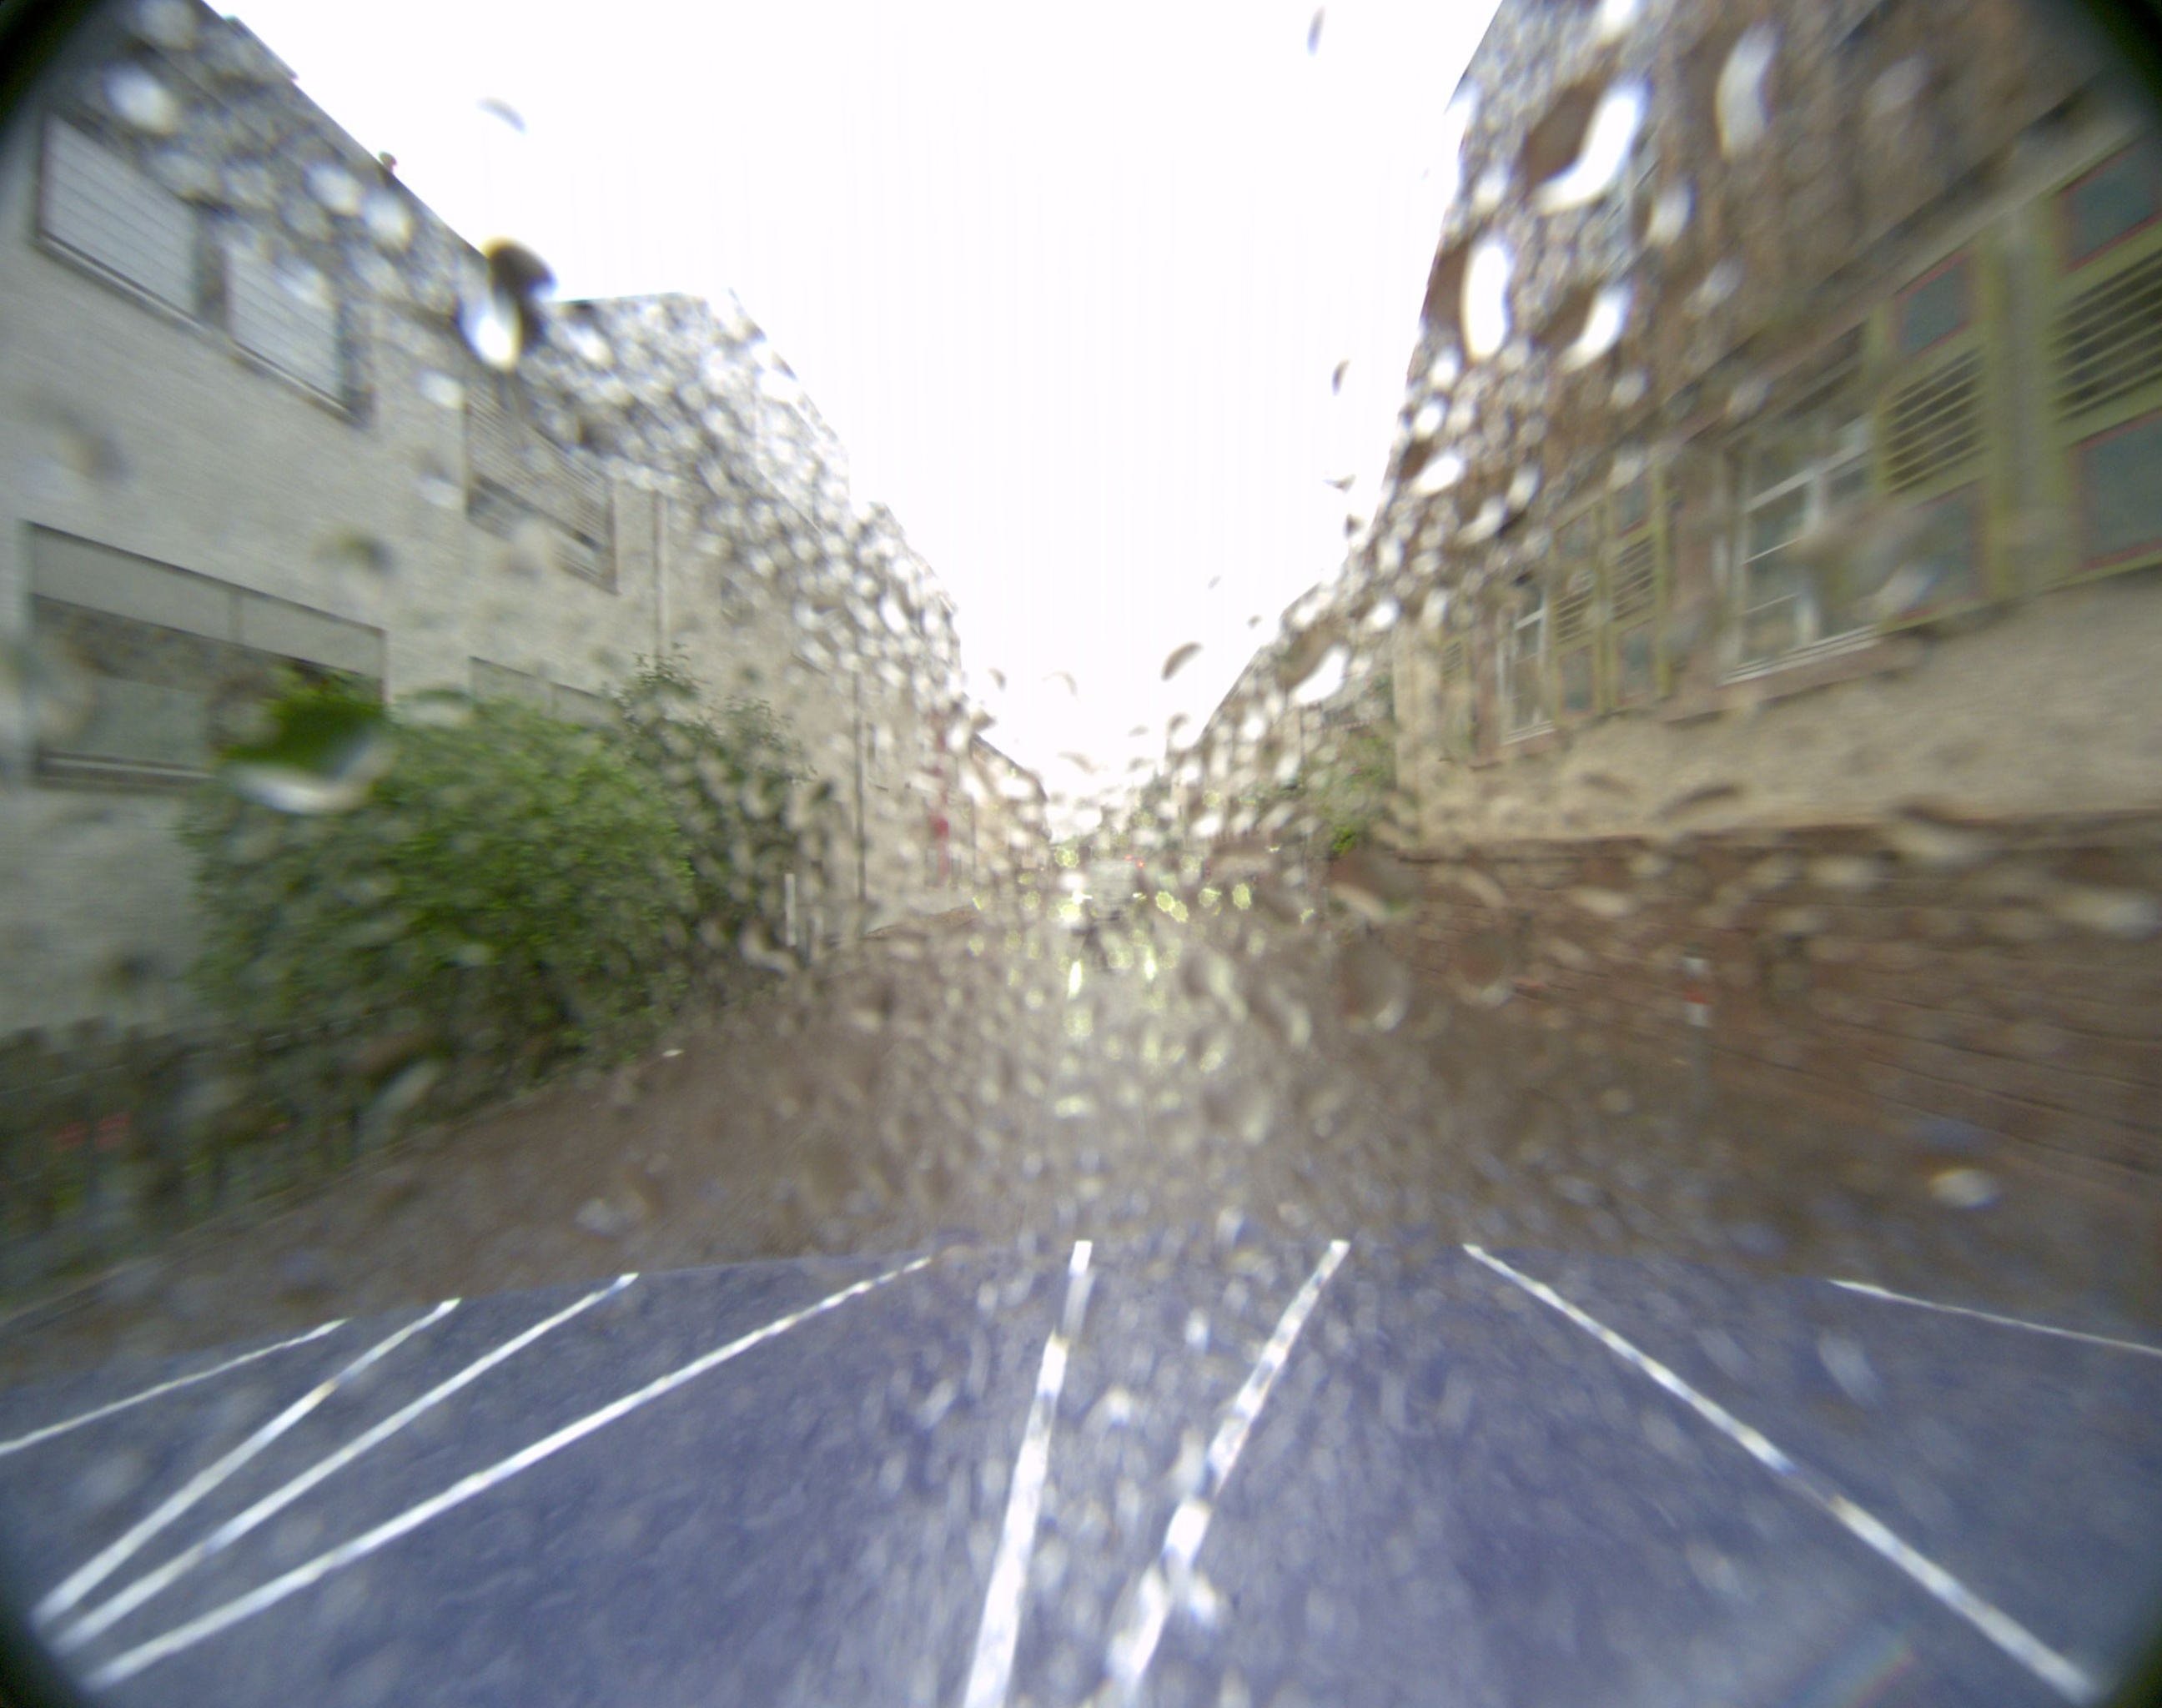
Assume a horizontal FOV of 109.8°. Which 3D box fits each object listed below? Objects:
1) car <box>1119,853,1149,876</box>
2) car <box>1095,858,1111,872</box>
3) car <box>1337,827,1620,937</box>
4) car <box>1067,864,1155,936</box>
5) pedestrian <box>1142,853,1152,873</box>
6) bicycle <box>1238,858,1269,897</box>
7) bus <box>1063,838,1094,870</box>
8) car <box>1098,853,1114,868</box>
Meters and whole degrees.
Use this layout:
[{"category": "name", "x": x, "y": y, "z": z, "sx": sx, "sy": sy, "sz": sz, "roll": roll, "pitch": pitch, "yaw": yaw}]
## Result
[{"category": "car", "x": 3.785, "y": 0.710, "z": 54.600, "sx": 1.837, "sy": 1.547, "sz": 4.238, "roll": -1, "pitch": 1, "yaw": 0}, {"category": "car", "x": 2.633, "y": 1.295, "z": 90.909, "sx": 1.700, "sy": 1.500, "sz": 4.341, "roll": -1, "pitch": 0, "yaw": 0}, {"category": "car", "x": 6.841, "y": 0.477, "z": 13.475, "sx": 3.995, "sy": 1.417, "sz": 1.737, "roll": -6, "pitch": 0, "yaw": 9}, {"category": "car", "x": 0.719, "y": 0.941, "z": 17.228, "sx": 1.738, "sy": 1.362, "sz": 4.103, "roll": -1, "pitch": 0, "yaw": 3}, {"category": "pedestrian", "x": 5.252, "y": 0.694, "z": 60.771, "sx": 0.573, "sy": 1.529, "sz": 0.833, "roll": -4, "pitch": 0, "yaw": -3}, {"category": "bicycle", "x": 5.524, "y": 0.735, "z": 24.445, "sx": 0.483, "sy": 1.171, "sz": 1.874, "roll": -4, "pitch": 0, "yaw": 0}, {"category": "bus", "x": -0.356, "y": -0.047, "z": 82.574, "sx": 2.669, "sy": 3.213, "sz": 12.187, "roll": -1, "pitch": 0, "yaw": -3}, {"category": "car", "x": 2.705, "y": 0.672, "z": 81.628, "sx": 1.608, "sy": 1.504, "sz": 3.688, "roll": -2, "pitch": 0, "yaw": 1}]
